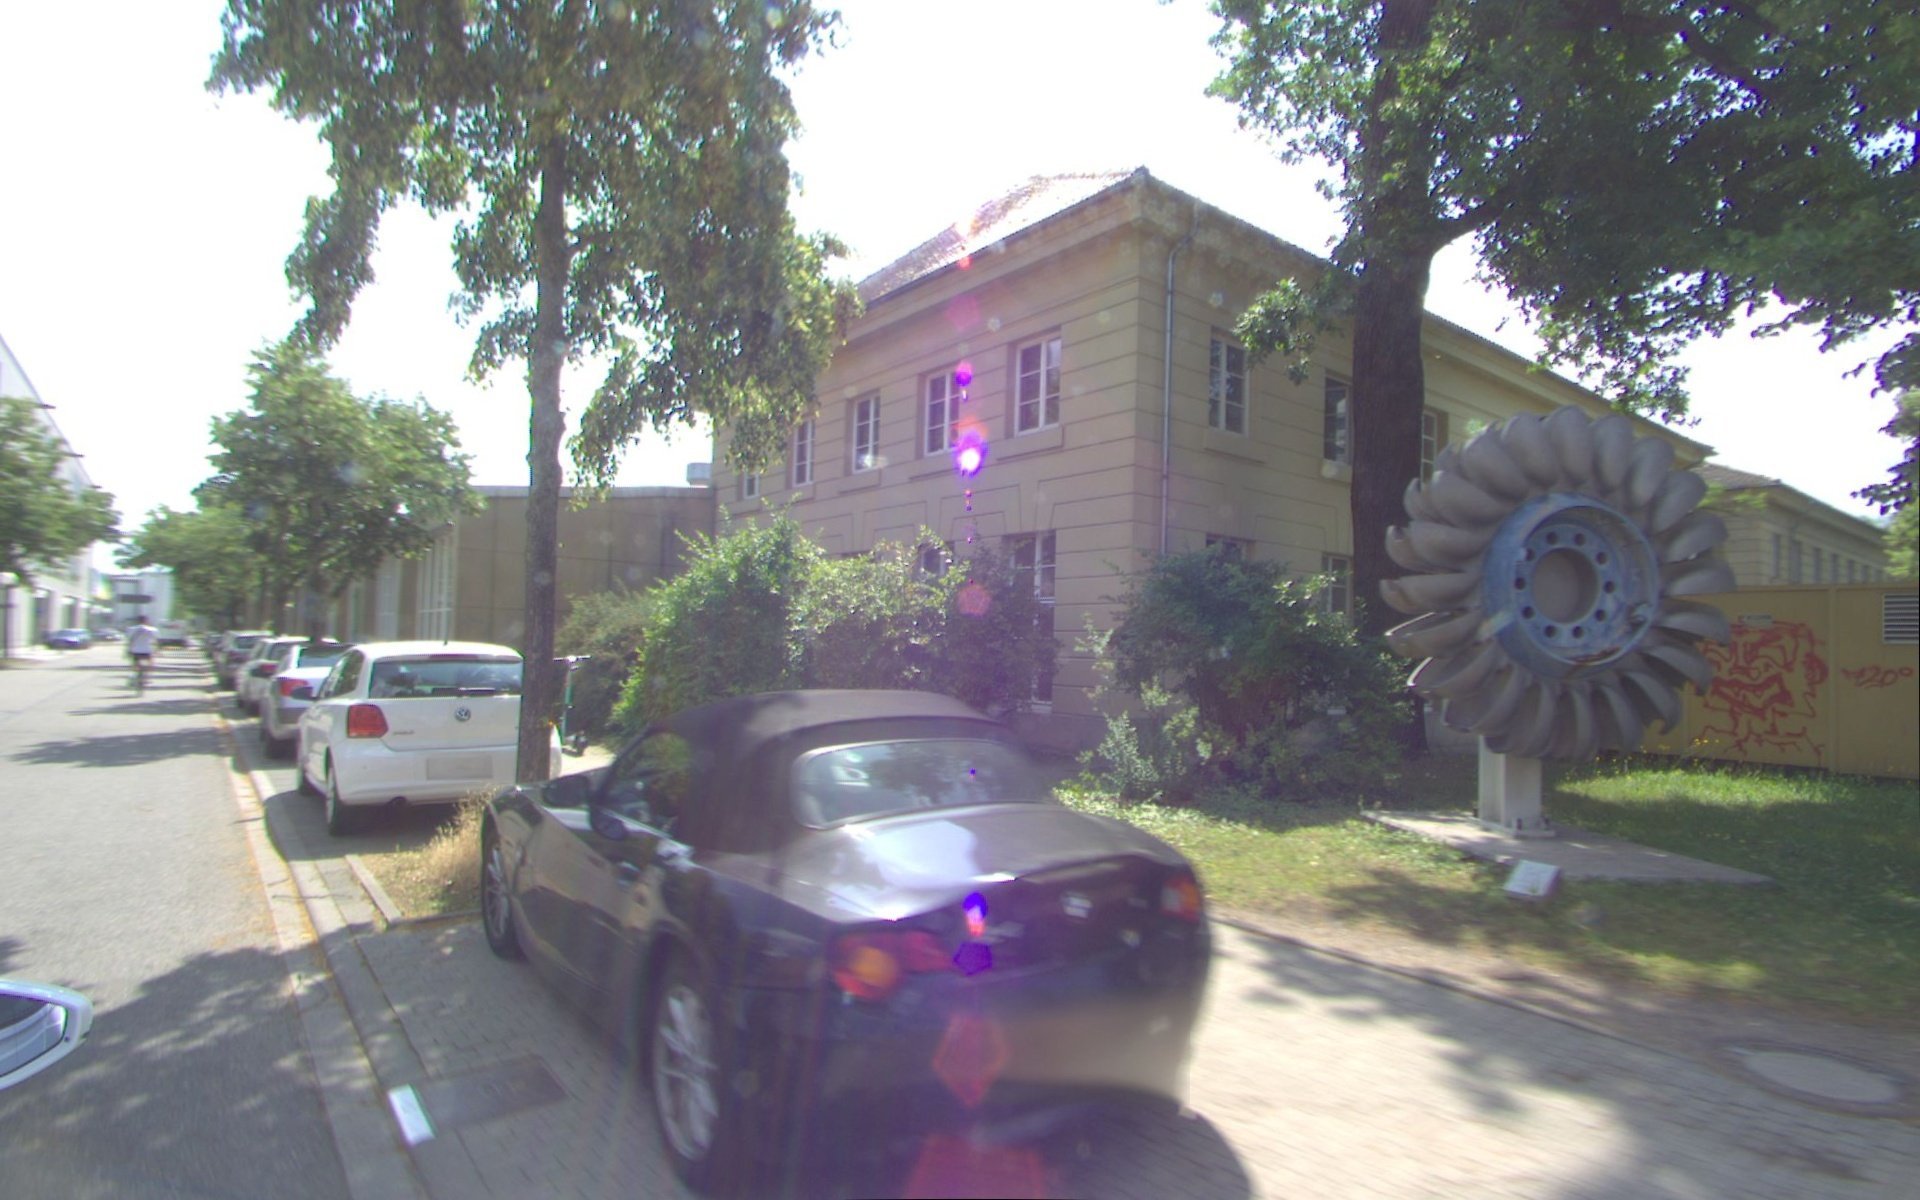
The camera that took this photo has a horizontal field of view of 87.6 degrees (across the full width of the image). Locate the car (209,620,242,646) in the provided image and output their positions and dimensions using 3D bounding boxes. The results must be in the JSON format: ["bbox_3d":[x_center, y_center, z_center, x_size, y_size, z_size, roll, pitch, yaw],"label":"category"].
[{"bbox_3d":[-47.458,2.148,64.661,1.603,1.557,3.752,4,-3,-37],"label":"car"}]

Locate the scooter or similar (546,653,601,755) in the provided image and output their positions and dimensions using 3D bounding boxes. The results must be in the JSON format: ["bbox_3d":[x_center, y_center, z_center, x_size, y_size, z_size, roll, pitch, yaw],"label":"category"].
[{"bbox_3d":[-5.075,1.334,13.107,0.514,1.237,1.231,2,-2,-27],"label":"scooter or similar"}]

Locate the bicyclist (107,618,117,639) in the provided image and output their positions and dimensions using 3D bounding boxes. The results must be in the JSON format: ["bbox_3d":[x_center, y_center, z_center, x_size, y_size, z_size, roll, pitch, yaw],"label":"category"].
[{"bbox_3d":[-82.215,2.772,97.097,0.706,2.039,1.010,2,-1,-40],"label":"bicyclist"}]

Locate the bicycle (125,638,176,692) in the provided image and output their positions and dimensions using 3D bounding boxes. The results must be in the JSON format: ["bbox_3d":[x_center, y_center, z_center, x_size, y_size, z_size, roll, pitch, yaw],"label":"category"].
[{"bbox_3d":[-19.819,1.563,24.519,0.876,1.214,2.727,4,-3,-39],"label":"bicycle"}]

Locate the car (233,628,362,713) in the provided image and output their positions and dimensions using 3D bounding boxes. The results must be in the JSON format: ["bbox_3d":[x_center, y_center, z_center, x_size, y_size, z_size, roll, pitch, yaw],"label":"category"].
[{"bbox_3d":[-13.502,1.349,20.285,1.712,1.486,4.634,2,-2,-39],"label":"car"}]

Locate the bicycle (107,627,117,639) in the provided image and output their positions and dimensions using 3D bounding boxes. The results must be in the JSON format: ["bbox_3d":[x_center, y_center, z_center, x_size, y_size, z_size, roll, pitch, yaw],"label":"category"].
[{"bbox_3d":[-82.311,3.196,97.196,0.680,1.144,1.873,3,-3,-39],"label":"bicycle"}]

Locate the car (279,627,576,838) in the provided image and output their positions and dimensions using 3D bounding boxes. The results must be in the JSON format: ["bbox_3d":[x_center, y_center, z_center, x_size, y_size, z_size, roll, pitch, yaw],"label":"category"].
[{"bbox_3d":[-4.985,1.025,9.098,1.575,1.484,3.956,3,-4,-40],"label":"car"}]

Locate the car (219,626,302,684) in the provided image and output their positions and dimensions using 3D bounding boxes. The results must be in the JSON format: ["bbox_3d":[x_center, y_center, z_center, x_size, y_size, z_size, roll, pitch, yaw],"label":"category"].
[{"bbox_3d":[-20.557,1.561,29.360,1.691,1.594,4.107,2,-2,-39],"label":"car"}]

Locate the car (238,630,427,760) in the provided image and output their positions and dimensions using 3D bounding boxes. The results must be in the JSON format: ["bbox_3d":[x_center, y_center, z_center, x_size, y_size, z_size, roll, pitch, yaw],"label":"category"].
[{"bbox_3d":[-8.558,1.163,13.518,1.634,1.408,3.955,2,-1,-40],"label":"car"}]

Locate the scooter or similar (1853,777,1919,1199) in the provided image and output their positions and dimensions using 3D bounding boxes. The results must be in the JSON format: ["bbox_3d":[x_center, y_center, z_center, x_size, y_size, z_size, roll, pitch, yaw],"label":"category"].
[{"bbox_3d":[2.208,0.965,1.368,0.547,1.269,1.375,3,-3,-29],"label":"scooter or similar"}]

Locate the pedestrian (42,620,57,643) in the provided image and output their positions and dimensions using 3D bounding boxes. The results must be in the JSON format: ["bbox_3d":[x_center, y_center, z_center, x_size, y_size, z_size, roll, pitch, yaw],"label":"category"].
[{"bbox_3d":[-71.053,2.470,78.136,0.879,1.722,0.647,0,-3,42],"label":"pedestrian"}]

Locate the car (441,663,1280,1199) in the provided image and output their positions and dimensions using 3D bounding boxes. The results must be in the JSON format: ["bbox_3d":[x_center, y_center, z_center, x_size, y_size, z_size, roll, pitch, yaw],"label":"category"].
[{"bbox_3d":[-0.866,0.987,4.196,1.693,1.296,3.971,4,-3,-36],"label":"car"}]

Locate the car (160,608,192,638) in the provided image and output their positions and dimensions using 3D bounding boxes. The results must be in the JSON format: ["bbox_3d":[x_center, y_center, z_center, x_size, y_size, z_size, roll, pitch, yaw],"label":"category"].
[{"bbox_3d":[-69.788,2.066,89.173,2.067,2.570,4.282,5,-4,-38],"label":"car"}]

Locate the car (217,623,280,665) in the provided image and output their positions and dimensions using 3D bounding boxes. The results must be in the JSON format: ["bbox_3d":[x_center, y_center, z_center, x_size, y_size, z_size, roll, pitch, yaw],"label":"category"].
[{"bbox_3d":[-29.717,1.837,41.766,1.808,1.684,4.548,2,-3,-39],"label":"car"}]

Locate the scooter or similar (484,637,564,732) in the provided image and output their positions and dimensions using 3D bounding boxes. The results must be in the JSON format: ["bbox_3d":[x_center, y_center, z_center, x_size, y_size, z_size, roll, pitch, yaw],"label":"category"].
[{"bbox_3d":[-6.319,1.203,14.580,0.585,1.283,1.266,2,0,-1],"label":"scooter or similar"}]

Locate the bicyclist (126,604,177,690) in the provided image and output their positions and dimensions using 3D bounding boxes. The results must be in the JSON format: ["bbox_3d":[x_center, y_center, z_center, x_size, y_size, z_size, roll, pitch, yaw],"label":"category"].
[{"bbox_3d":[-19.786,1.151,24.505,0.867,2.038,0.843,4,-3,-39],"label":"bicyclist"}]

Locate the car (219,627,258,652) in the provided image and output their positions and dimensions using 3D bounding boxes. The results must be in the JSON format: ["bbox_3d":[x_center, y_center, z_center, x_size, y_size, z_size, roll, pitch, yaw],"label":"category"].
[{"bbox_3d":[-43.715,2.379,60.622,1.766,1.495,4.428,2,-2,-38],"label":"car"}]

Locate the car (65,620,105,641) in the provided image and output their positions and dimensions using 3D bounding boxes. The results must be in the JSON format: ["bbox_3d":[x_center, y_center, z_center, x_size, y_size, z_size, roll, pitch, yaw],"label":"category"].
[{"bbox_3d":[-64.353,2.287,73.696,1.751,1.445,4.205,4,-4,-36],"label":"car"}]
